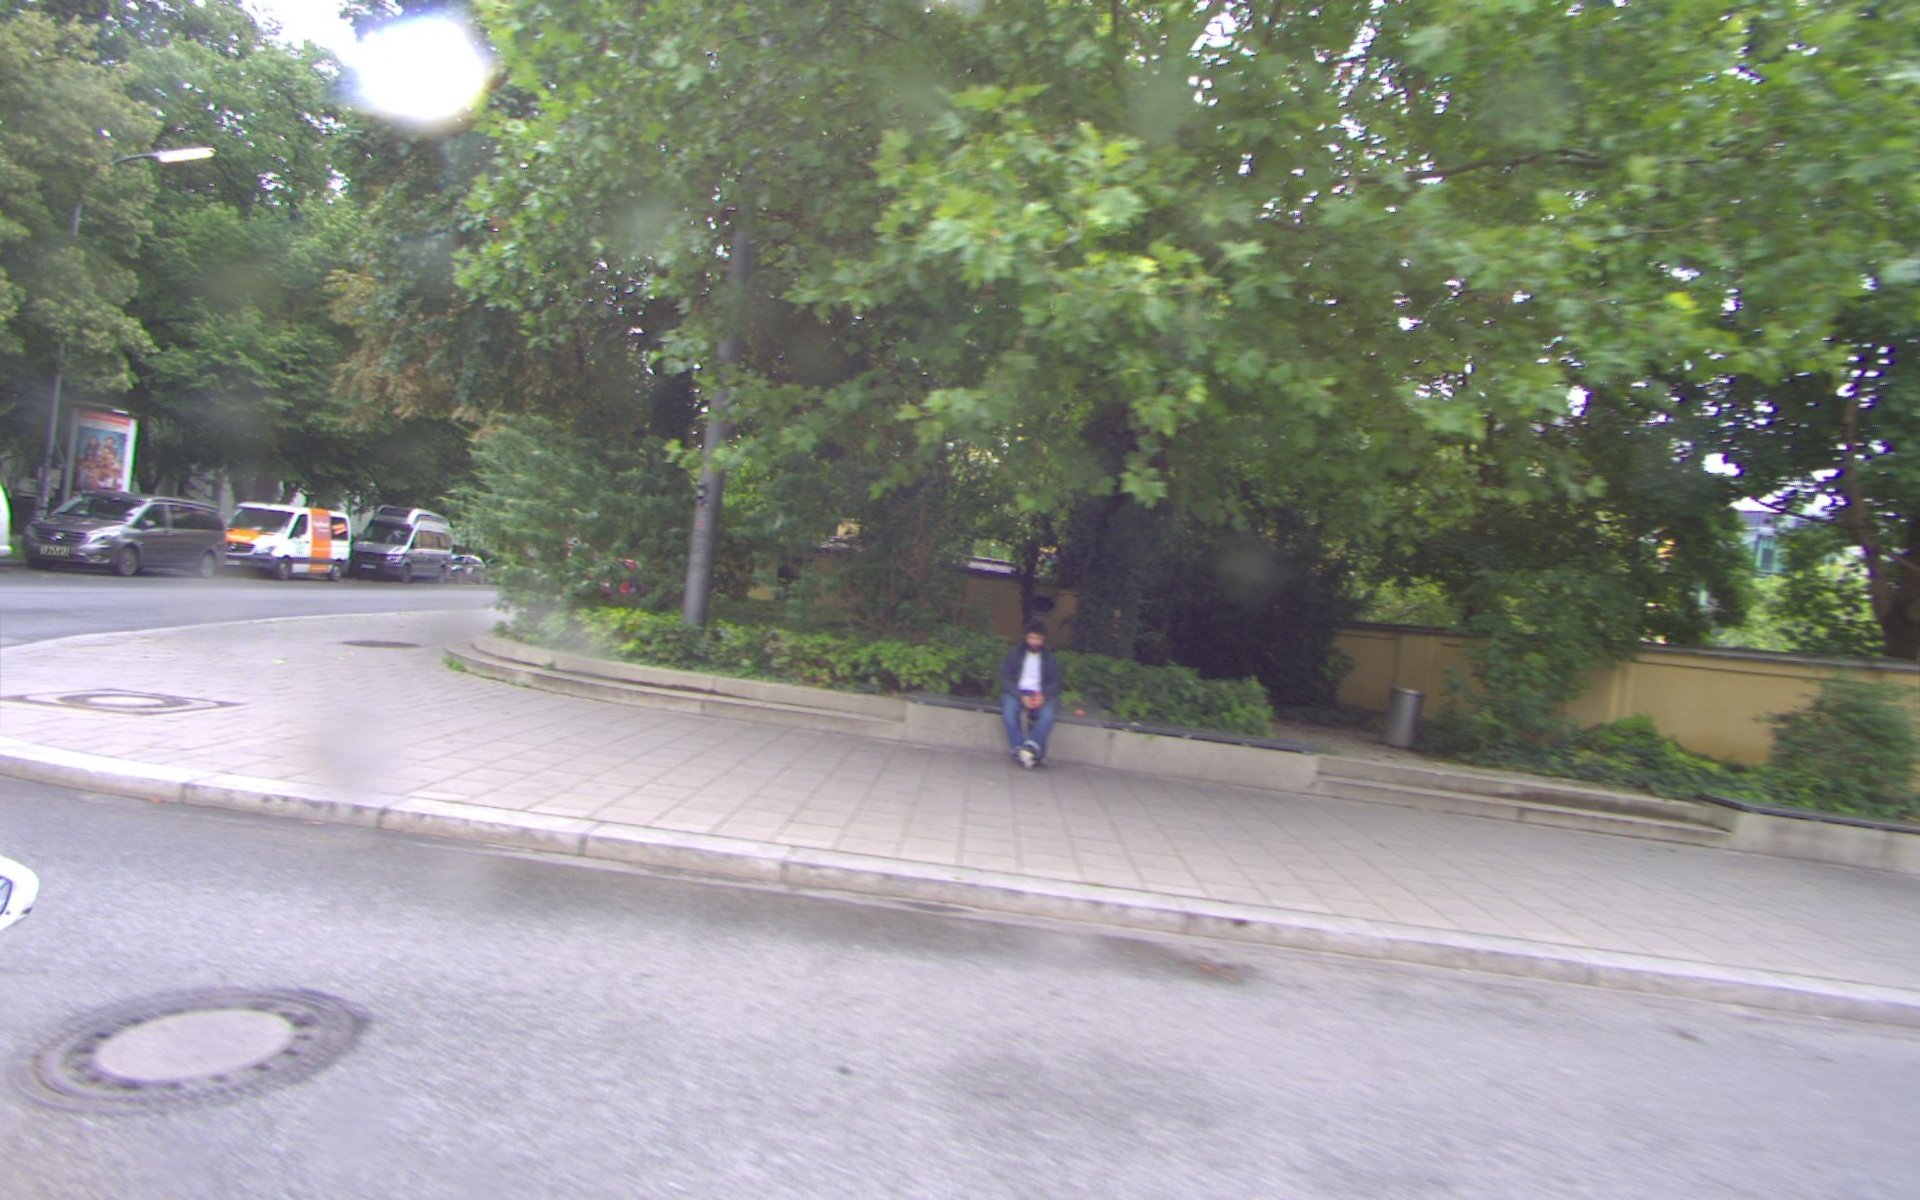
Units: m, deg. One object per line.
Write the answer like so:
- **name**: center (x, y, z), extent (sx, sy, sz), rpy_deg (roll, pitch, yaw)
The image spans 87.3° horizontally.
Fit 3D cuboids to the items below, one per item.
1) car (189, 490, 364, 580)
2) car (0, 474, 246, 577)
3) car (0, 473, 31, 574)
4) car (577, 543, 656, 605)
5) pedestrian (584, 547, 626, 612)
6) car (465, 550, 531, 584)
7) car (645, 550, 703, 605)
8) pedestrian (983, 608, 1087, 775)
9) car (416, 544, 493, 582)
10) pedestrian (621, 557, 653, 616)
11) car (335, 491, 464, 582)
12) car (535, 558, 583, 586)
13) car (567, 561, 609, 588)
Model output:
- **car**: center (-21.125, -1.900, 31.458), extent (2.053, 2.293, 5.595), rpy_deg (5, 0, -7)
- **car**: center (-20.034, -1.655, 24.398), extent (1.997, 1.932, 5.657), rpy_deg (5, 0, -9)
- **car**: center (-19.352, -1.592, 17.518), extent (2.054, 1.927, 4.852), rpy_deg (7, 0, -7)
- **car**: center (-13.031, -0.957, 38.446), extent (1.885, 1.960, 4.960), rpy_deg (7, 0, -10)
- **pedestrian**: center (-10.848, -0.628, 30.717), extent (0.814, 1.859, 0.943), rpy_deg (6, 1, -35)
- **car**: center (-23.556, -1.647, 51.459), extent (1.967, 1.437, 4.121), rpy_deg (7, 0, -11)
- **car**: center (-15.384, -1.191, 54.354), extent (1.965, 2.590, 5.422), rpy_deg (7, 0, -7)
- **pedestrian**: center (0.667, 0.809, 9.367), extent (0.757, 1.374, 1.131), rpy_deg (7, 1, 1)
- **car**: center (-23.037, -1.649, 46.027), extent (1.967, 1.437, 3.992), rpy_deg (7, 0, -11)
- **pedestrian**: center (-9.775, -0.402, 30.466), extent (0.628, 1.688, 0.692), rpy_deg (6, 1, -30)
- **car**: center (-22.236, -2.400, 40.272), extent (2.142, 3.039, 6.223), rpy_deg (7, 0, -8)
- **car**: center (-25.810, -1.788, 64.907), extent (1.967, 1.505, 4.121), rpy_deg (7, 0, -11)
- **car**: center (-26.317, -1.768, 71.294), extent (1.967, 1.640, 4.121), rpy_deg (7, 0, -11)
